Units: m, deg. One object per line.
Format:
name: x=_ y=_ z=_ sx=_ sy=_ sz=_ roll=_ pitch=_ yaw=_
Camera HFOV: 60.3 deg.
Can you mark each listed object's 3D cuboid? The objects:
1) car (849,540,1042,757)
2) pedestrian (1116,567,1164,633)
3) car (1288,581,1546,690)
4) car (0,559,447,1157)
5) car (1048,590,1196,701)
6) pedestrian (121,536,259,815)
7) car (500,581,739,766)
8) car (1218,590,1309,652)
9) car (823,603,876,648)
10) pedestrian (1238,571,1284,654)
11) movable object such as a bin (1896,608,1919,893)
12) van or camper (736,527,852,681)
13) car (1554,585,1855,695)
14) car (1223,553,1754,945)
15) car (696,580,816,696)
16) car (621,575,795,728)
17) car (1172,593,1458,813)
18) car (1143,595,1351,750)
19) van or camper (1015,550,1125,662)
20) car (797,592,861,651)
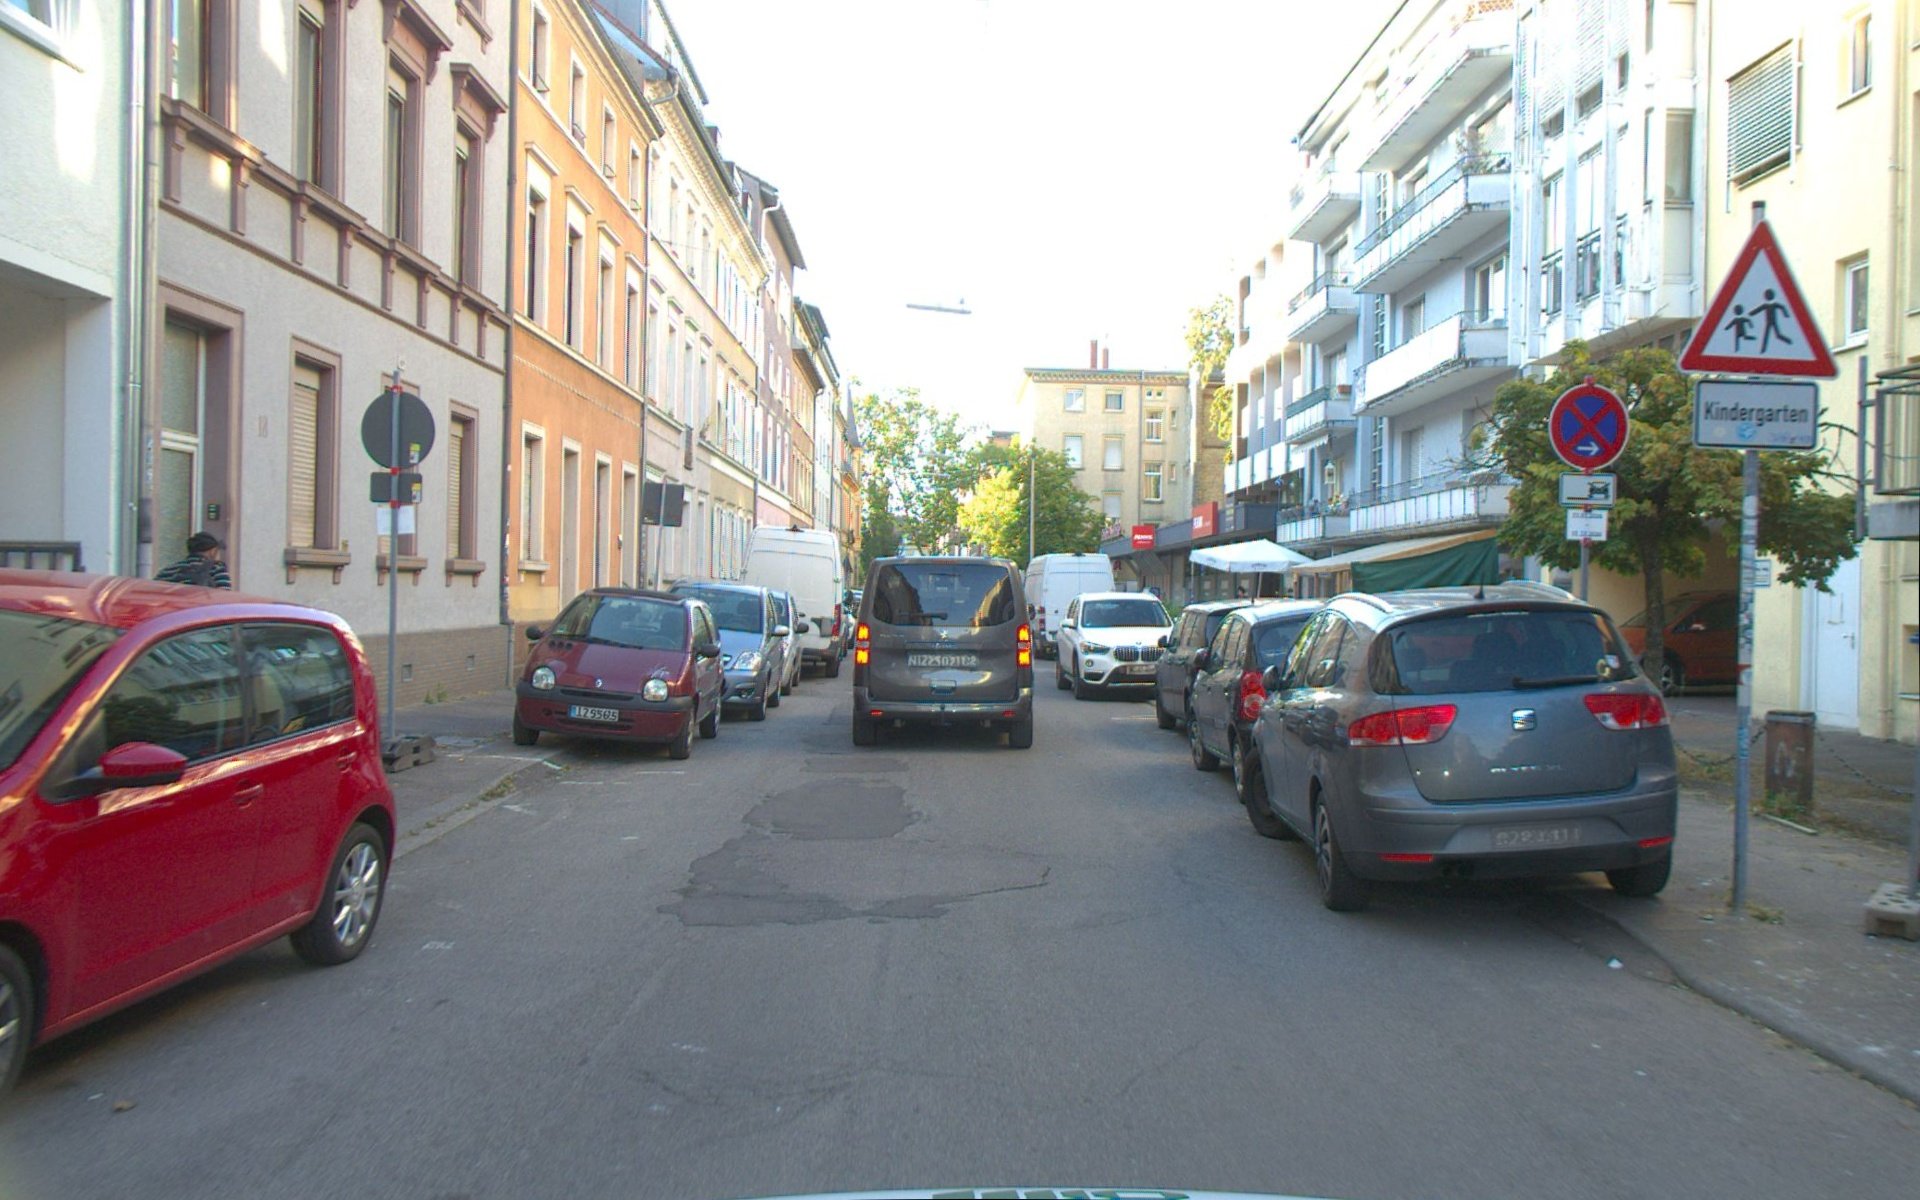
car: x=-0.191 y=0.444 z=17.888 sx=1.820 sy=2.049 sz=3.999 roll=-1 pitch=1 yaw=-2
pedestrian: x=4.452 y=-0.011 z=40.913 sx=0.859 sy=1.583 sz=0.869 roll=-2 pitch=1 yaw=-23
car: x=7.647 y=0.580 z=27.897 sx=3.817 sy=1.635 sz=1.694 roll=2 pitch=0 yaw=-2
car: x=-3.286 y=0.677 z=5.583 sx=1.634 sy=1.511 sz=3.607 roll=6 pitch=1 yaw=4
car: x=2.543 y=0.671 z=26.977 sx=1.688 sy=1.640 sz=4.585 roll=1 pitch=0 yaw=-3
pedestrian: x=-4.786 y=0.454 z=10.307 sx=0.485 sy=1.667 sz=0.665 roll=2 pitch=0 yaw=-1
car: x=-3.156 y=0.622 z=15.917 sx=1.624 sy=1.473 sz=3.285 roll=4 pitch=0 yaw=-2
car: x=7.458 y=0.491 z=40.461 sx=1.567 sy=1.440 sz=3.229 roll=0 pitch=0 yaw=22
car: x=-3.945 y=0.885 z=58.854 sx=1.753 sy=1.422 sz=4.464 roll=2 pitch=0 yaw=-4
pedestrian: x=8.025 y=0.324 z=44.168 sx=0.859 sy=2.182 sz=0.951 roll=0 pitch=0 yaw=-18
movable object such as a bin: x=5.419 y=0.772 z=8.177 sx=1.235 sy=1.400 sz=0.795 roll=2 pitch=0 yaw=-26
van or camper: x=-3.158 y=0.042 z=32.708 sx=1.910 sy=2.695 sz=7.137 roll=0 pitch=0 yaw=-3
car: x=12.089 y=0.627 z=27.010 sx=4.027 sy=1.688 sz=1.998 roll=1 pitch=0 yaw=-5
car: x=2.748 y=0.652 z=9.738 sx=1.713 sy=1.712 sz=4.526 roll=2 pitch=0 yaw=1
car: x=-3.268 y=0.563 z=27.016 sx=1.558 sy=1.715 sz=3.652 roll=1 pitch=0 yaw=-2
car: x=-3.130 y=0.584 z=21.247 sx=1.677 sy=1.673 sz=3.978 roll=4 pitch=0 yaw=-2
car: x=2.882 y=0.758 z=14.167 sx=1.589 sy=1.585 sz=3.693 roll=2 pitch=0 yaw=-1
car: x=3.143 y=0.728 z=18.820 sx=1.587 sy=1.512 sz=4.124 roll=-1 pitch=0 yaw=-1
van or camper: x=2.734 y=0.119 z=43.066 sx=2.057 sy=2.647 sz=7.509 roll=0 pitch=0 yaw=-2
car: x=-3.702 y=0.565 z=46.423 sx=1.677 sy=1.523 sz=3.851 roll=1 pitch=0 yaw=-5
